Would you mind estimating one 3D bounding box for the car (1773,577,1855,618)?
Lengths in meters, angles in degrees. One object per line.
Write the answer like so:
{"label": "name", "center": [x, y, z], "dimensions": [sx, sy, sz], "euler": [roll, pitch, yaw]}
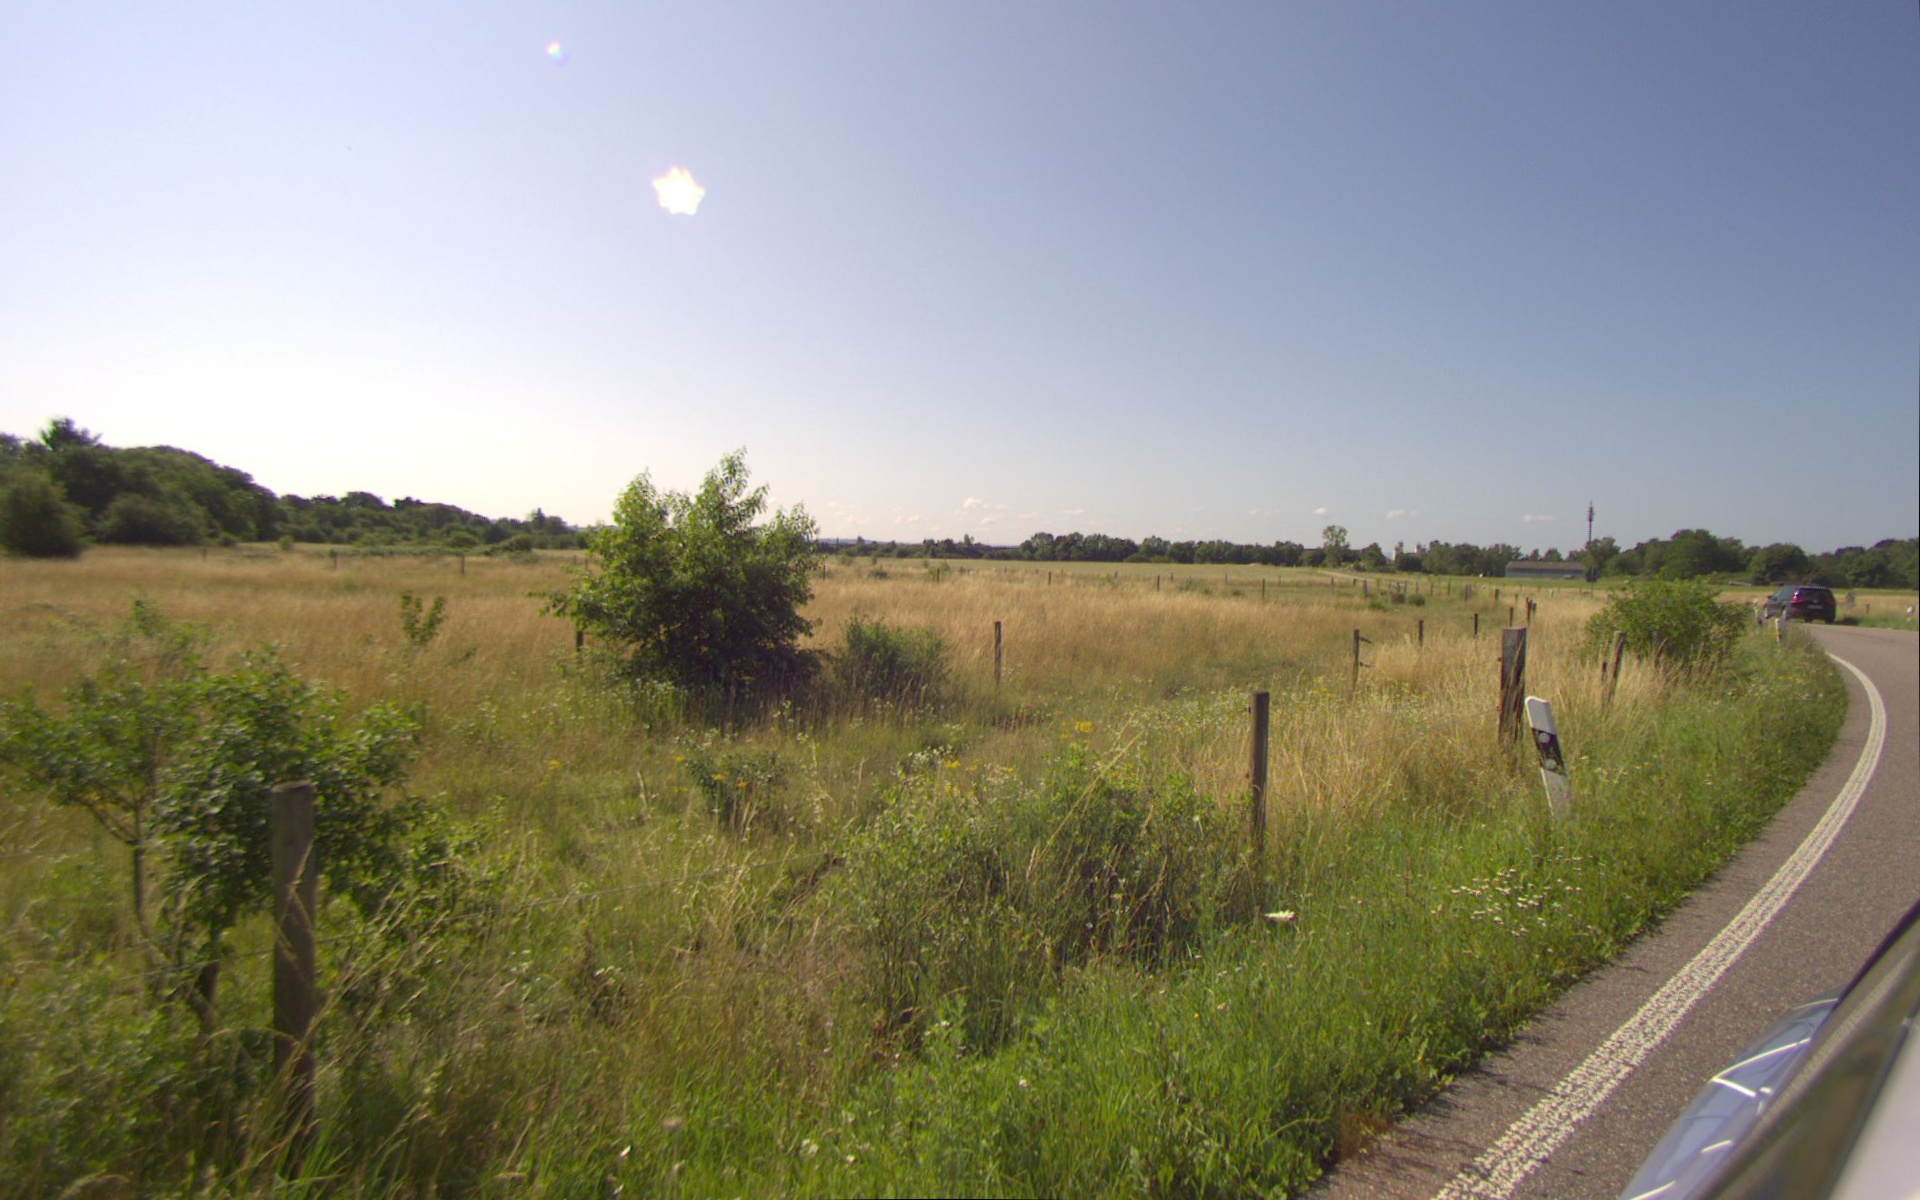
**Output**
{"label": "car", "center": [38.358, -0.101, 45.555], "dimensions": [1.773, 1.652, 4.122], "euler": [4, 1, 26]}
